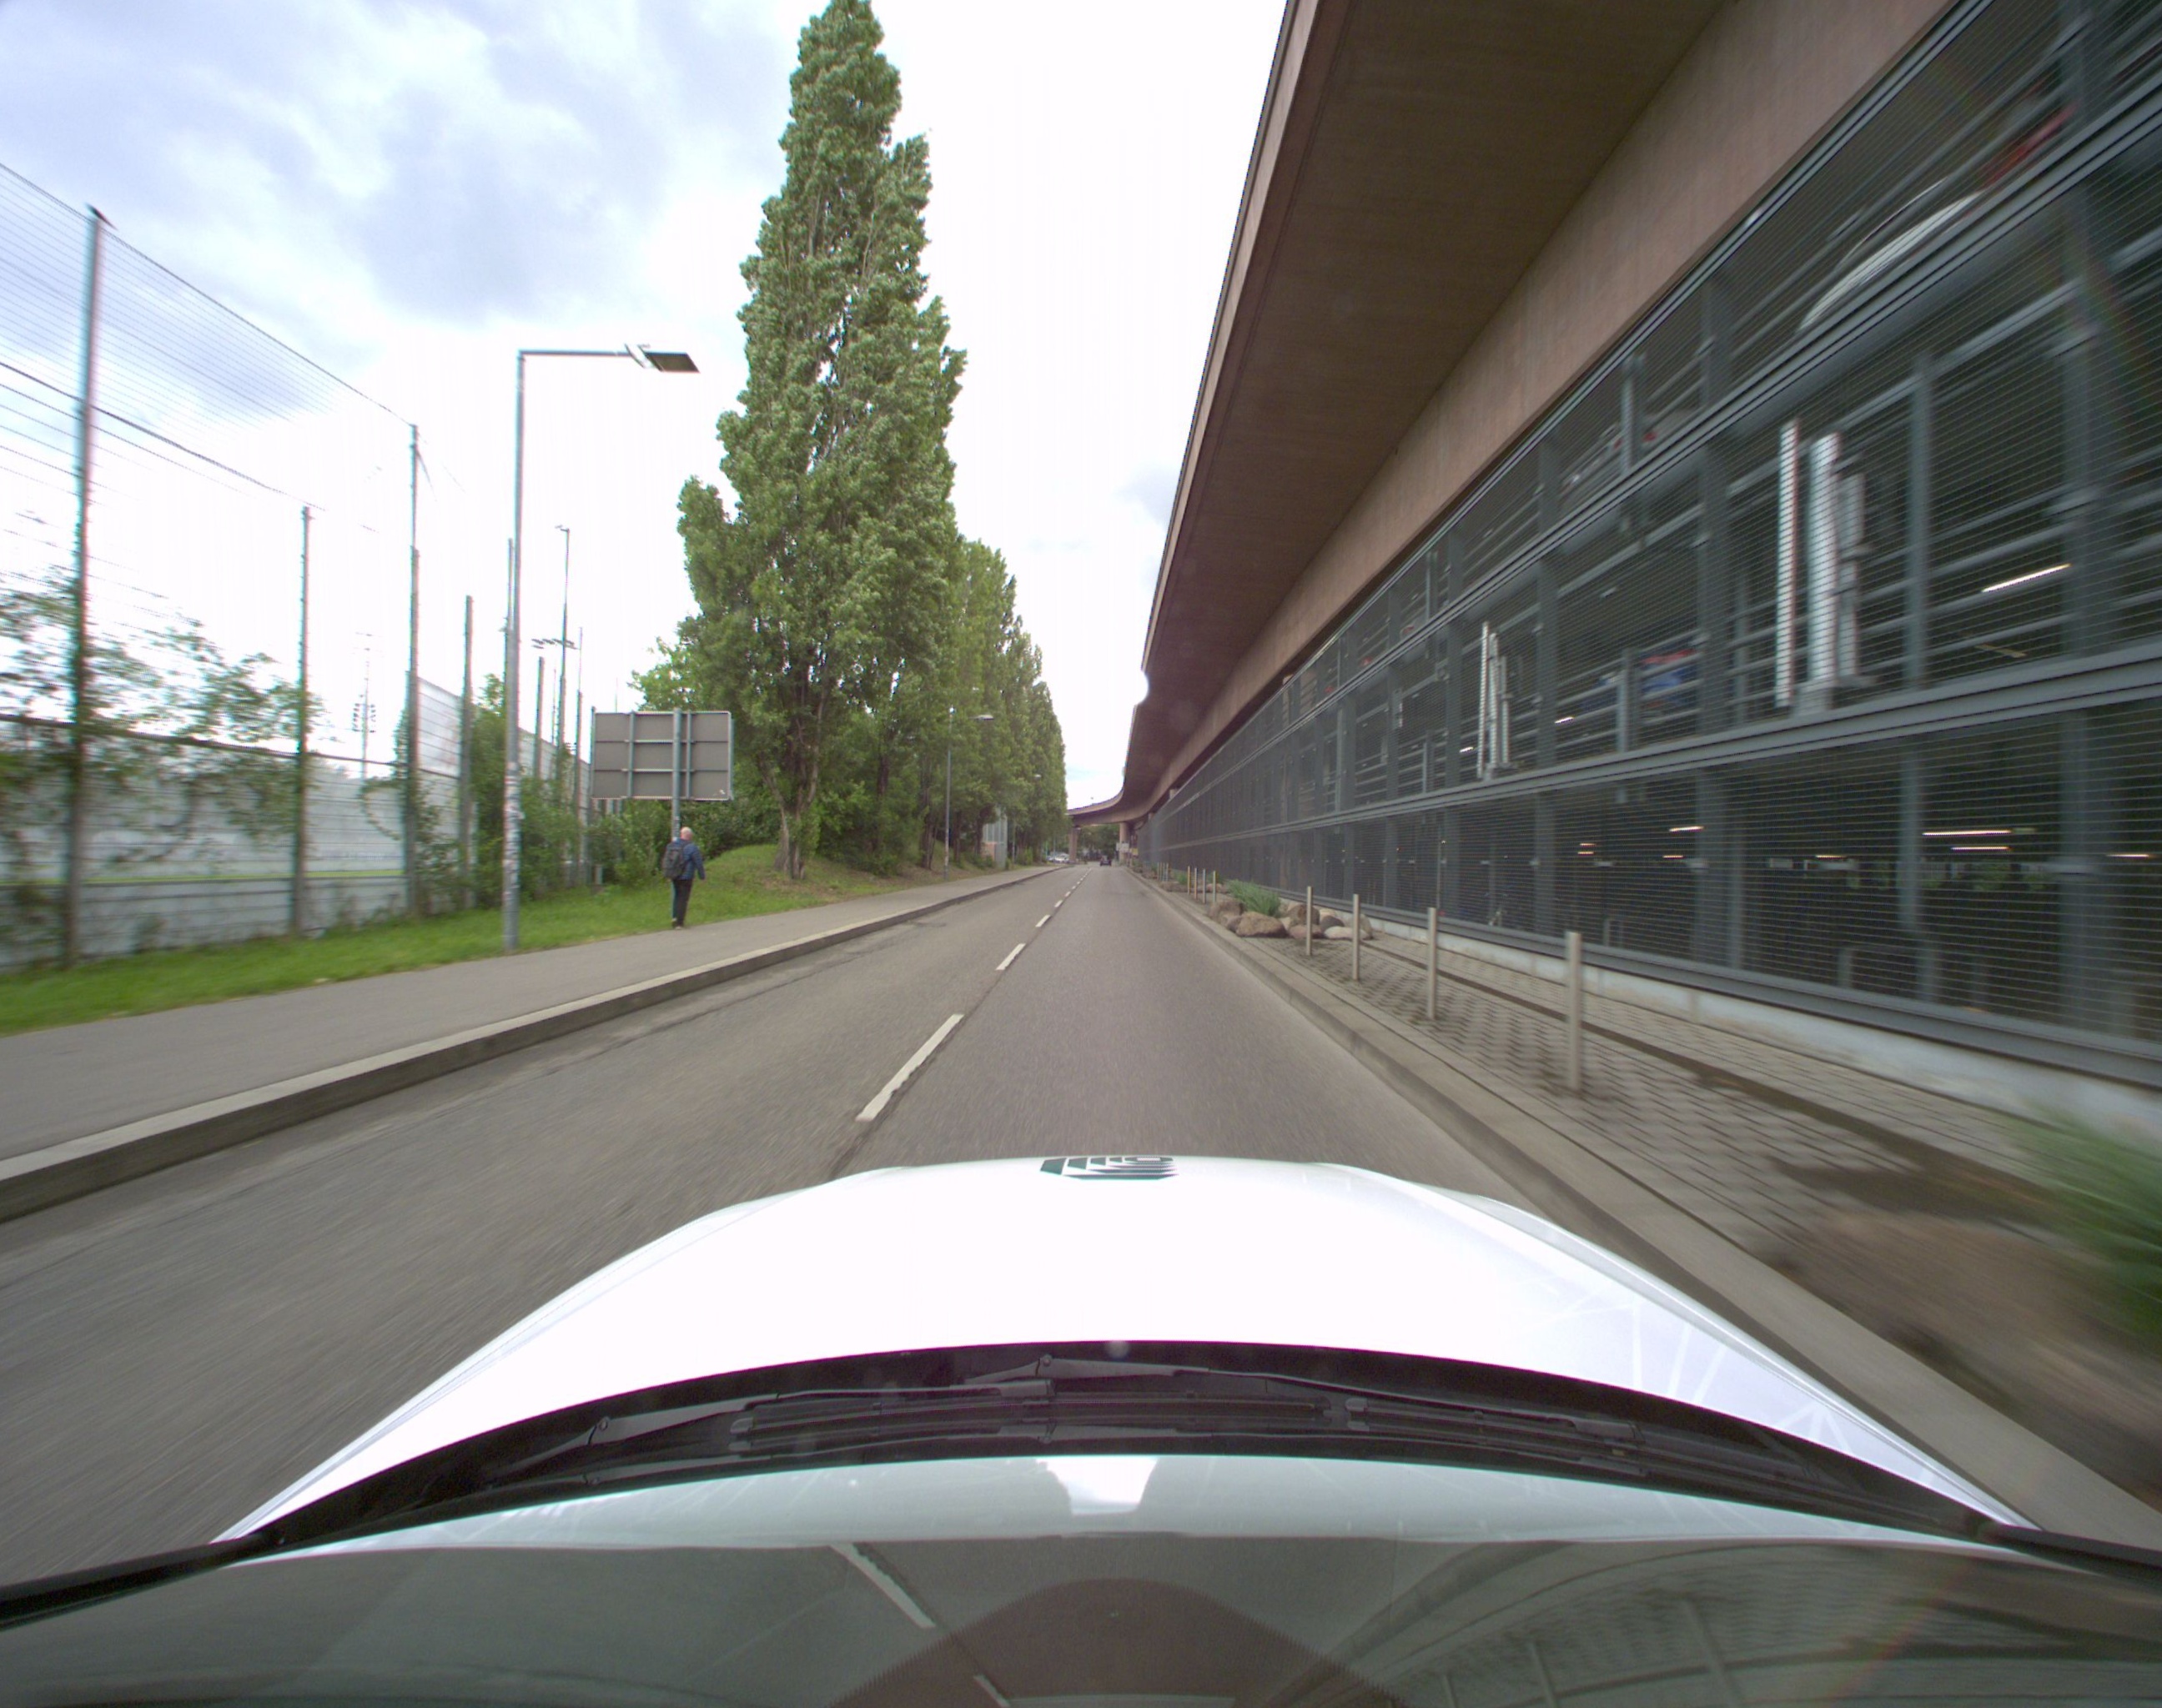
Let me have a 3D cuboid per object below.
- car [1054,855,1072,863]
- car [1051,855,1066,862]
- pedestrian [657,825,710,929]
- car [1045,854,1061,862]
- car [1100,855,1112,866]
[{"bbox_3d":[-4.111,1.220,190.372,1.862,1.716,4.178,2,2,43],"label":"car"},{"bbox_3d":[-5.366,1.055,194.747,1.704,1.716,3.695,2,2,43],"label":"car"},{"bbox_3d":[-7.119,0.384,14.636,0.807,1.780,0.913,0,1,-23],"label":"pedestrian"},{"bbox_3d":[-6.781,0.922,198.290,1.704,1.716,3.695,2,2,43],"label":"car"},{"bbox_3d":[4.211,1.032,136.597,1.832,1.711,3.708,0,1,2],"label":"car"}]
